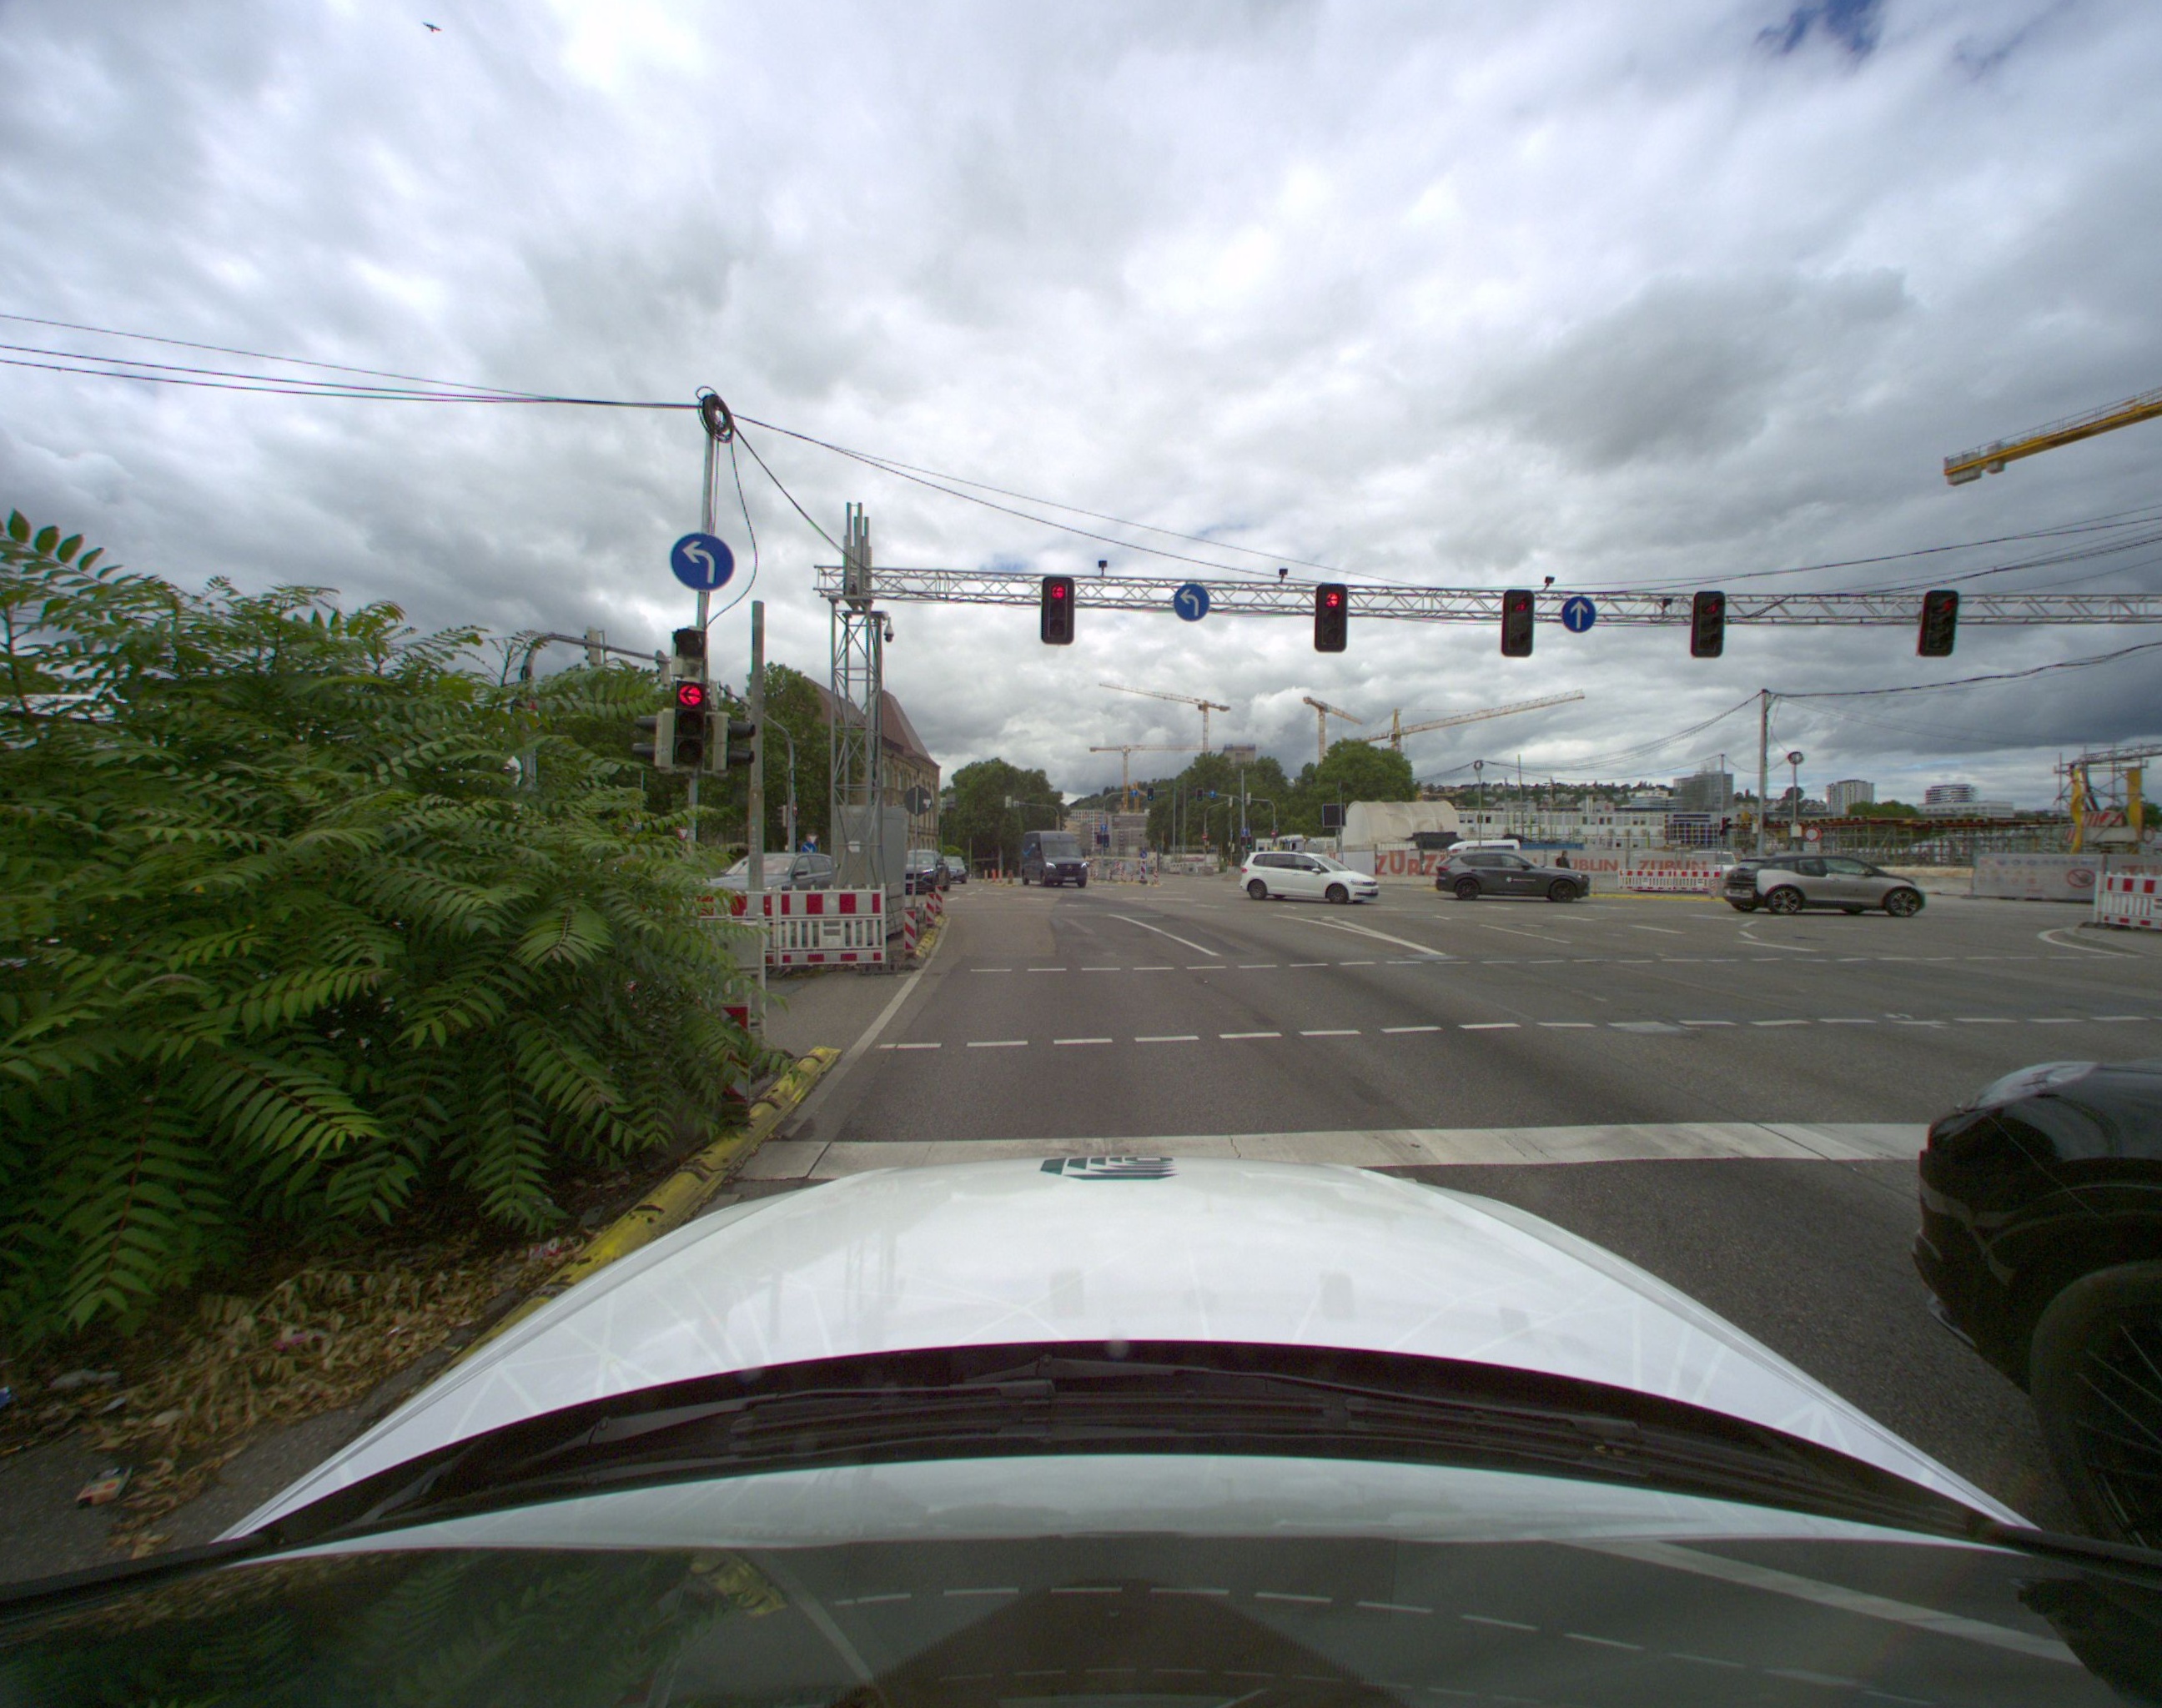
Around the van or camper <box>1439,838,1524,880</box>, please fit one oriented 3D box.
[{"bbox_3d":[23.140,0.261,47.198,4.181,2.357,2.009,0,0,16],"label":"van or camper"}]

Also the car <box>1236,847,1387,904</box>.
[{"bbox_3d":[7.477,0.632,26.688,4.388,1.736,1.896,0,0,42],"label":"car"}]

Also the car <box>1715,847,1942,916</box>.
[{"bbox_3d":[19.333,0.664,21.274,4.024,1.668,1.807,0,0,13],"label":"car"}]

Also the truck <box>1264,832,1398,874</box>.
[{"bbox_3d":[25.036,-0.097,81.584,13.062,4.041,3.927,0,0,-18],"label":"truck"}]

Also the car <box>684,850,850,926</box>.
[{"bbox_3d":[-6.732,0.645,18.062,1.871,1.472,4.445,0,0,1],"label":"car"}]

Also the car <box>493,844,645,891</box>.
[{"bbox_3d":[-18.868,0.488,30.250,4.315,1.676,1.992,0,0,-12],"label":"car"}]

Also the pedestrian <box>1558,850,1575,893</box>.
[{"bbox_3d":[22.748,0.823,38.143,0.645,2.013,0.520,0,0,27],"label":"pedestrian"}]

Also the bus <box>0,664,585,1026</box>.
[{"bbox_3d":[-10.485,-0.084,9.778,2.832,3.114,9.134,0,0,5],"label":"bus"}]

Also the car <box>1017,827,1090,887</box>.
[{"bbox_3d":[-1.415,0.137,38.445,2.061,2.594,5.981,0,0,-16],"label":"car"}]

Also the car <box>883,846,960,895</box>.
[{"bbox_3d":[-5.774,0.554,29.966,1.871,1.670,4.445,0,0,1],"label":"car"}]

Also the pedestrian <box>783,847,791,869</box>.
[{"bbox_3d":[-26.758,0.374,74.162,0.530,2.014,0.423,1,-1,-42],"label":"pedestrian"}]

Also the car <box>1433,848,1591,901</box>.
[{"bbox_3d":[14.442,0.655,27.606,4.554,1.670,1.894,0,0,22],"label":"car"}]

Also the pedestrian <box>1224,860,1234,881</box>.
[{"bbox_3d":[12.244,1.384,67.298,0.726,1.689,0.678,0,0,1],"label":"pedestrian"}]

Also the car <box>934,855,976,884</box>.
[{"bbox_3d":[-6.732,0.801,43.956,1.701,1.513,4.286,0,0,-1],"label":"car"}]

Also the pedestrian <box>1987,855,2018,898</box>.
[{"bbox_3d":[38.918,0.933,34.389,0.651,1.795,0.617,0,0,-7],"label":"pedestrian"}]
